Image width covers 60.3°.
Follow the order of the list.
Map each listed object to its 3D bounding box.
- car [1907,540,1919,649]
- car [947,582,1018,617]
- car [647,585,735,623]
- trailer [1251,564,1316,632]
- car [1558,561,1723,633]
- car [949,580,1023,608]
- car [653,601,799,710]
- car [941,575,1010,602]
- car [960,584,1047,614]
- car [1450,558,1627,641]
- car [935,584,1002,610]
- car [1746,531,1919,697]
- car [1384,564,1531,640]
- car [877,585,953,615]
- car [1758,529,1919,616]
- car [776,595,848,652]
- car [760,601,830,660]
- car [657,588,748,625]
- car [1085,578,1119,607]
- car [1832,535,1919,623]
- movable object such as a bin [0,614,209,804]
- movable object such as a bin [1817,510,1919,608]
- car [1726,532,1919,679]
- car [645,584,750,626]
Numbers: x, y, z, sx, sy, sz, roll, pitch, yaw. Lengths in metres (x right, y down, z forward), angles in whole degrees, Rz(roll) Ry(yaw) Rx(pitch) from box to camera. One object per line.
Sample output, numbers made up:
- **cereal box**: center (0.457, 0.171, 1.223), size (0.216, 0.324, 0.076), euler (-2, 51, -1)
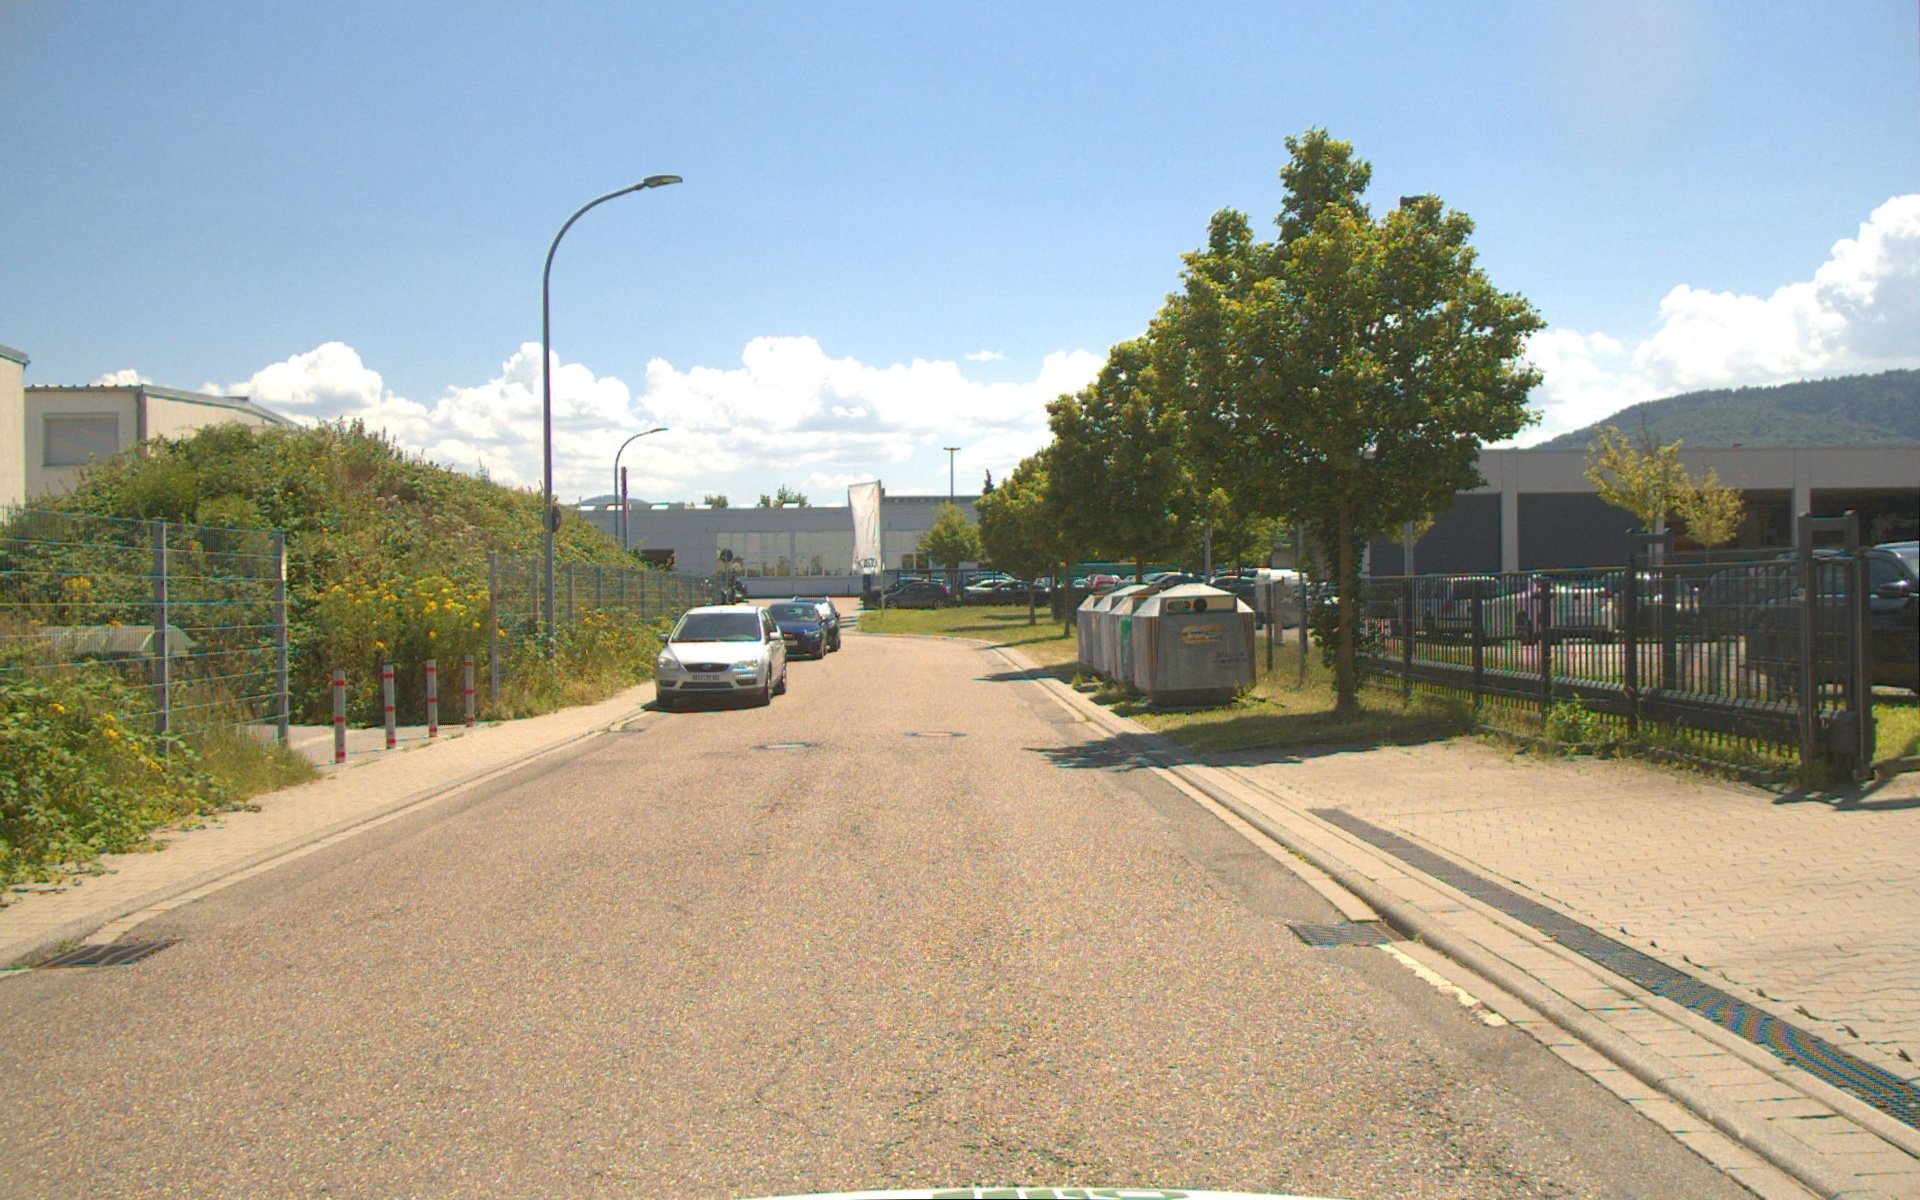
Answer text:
- **car**: center (14.257, -0.027, 21.309), size (1.613, 1.518, 4.021), euler (-1, 2, -4)
- **car**: center (1.251, -0.027, 94.169), size (3.908, 1.859, 1.998), euler (-1, -2, -3)
- **car**: center (-14.571, 0.214, 89.769), size (4.494, 1.956, 1.999), euler (-1, 0, -2)
- **trailer**: center (10.452, -0.094, 53.608), size (1.462, 2.041, 3.265), euler (-1, 2, 0)
- **car**: center (15.471, -0.117, 37.852), size (1.754, 1.507, 4.419), euler (-1, 2, -4)
- **car**: center (1.415, -0.306, 90.806), size (3.908, 1.423, 1.998), euler (-1, -2, -3)
- **car**: center (-3.688, 0.824, 26.765), size (1.796, 1.573, 4.366), euler (-1, 0, -1)
- **car**: center (0.890, -0.668, 96.718), size (3.908, 1.423, 1.998), euler (-1, -2, -3)
- **car**: center (2.237, -0.041, 86.269), size (4.350, 1.423, 1.998), euler (-1, -2, -3)
- **car**: center (11.150, 0.046, 32.183), size (1.754, 1.458, 4.139), euler (-1, -2, -4)
- **car**: center (0.496, -0.158, 99.980), size (3.908, 1.423, 1.998), euler (-1, -2, -3)
- **car**: center (9.410, 0.137, 15.483), size (1.754, 1.480, 4.406), euler (-1, -2, -4)
- **car**: center (11.151, -0.009, 37.378), size (1.754, 1.557, 4.419), euler (-1, 2, -4)
- **car**: center (-2.363, 0.007, 86.254), size (3.908, 1.423, 1.998), euler (-1, -2, -3)
- **car**: center (27.257, -0.783, 51.334), size (1.843, 2.303, 5.650), euler (-1, -3, -4)
- **car**: center (-4.351, 0.672, 49.058), size (1.796, 1.573, 4.263), euler (-1, 0, -1)
- **car**: center (-4.341, 0.771, 43.898), size (1.623, 1.442, 4.143), euler (-1, 0, -3)
- **car**: center (-14.346, 0.326, 92.390), size (4.785, 1.956, 1.999), euler (-1, 0, -2)
- **car**: center (10.141, -0.524, 118.585), size (1.953, 1.859, 3.998), euler (-1, -2, -2)
- **car**: center (29.930, -0.659, 51.858), size (1.843, 2.521, 5.500), euler (-1, -3, -4)
- **movable object such as a bin**: center (-7.513, 0.886, 14.229), size (1.277, 1.503, 1.838), euler (-1, 0, -1)
- **movable object such as a bin**: center (41.008, -1.733, 71.070), size (3.470, 4.043, 8.662), euler (-1, 0, -3)
- **car**: center (11.612, -0.020, 20.835), size (1.754, 1.651, 4.239), euler (-1, 2, -4)
- **car**: center (-13.812, 0.258, 87.220), size (5.211, 2.134, 1.999), euler (-1, 0, -2)
